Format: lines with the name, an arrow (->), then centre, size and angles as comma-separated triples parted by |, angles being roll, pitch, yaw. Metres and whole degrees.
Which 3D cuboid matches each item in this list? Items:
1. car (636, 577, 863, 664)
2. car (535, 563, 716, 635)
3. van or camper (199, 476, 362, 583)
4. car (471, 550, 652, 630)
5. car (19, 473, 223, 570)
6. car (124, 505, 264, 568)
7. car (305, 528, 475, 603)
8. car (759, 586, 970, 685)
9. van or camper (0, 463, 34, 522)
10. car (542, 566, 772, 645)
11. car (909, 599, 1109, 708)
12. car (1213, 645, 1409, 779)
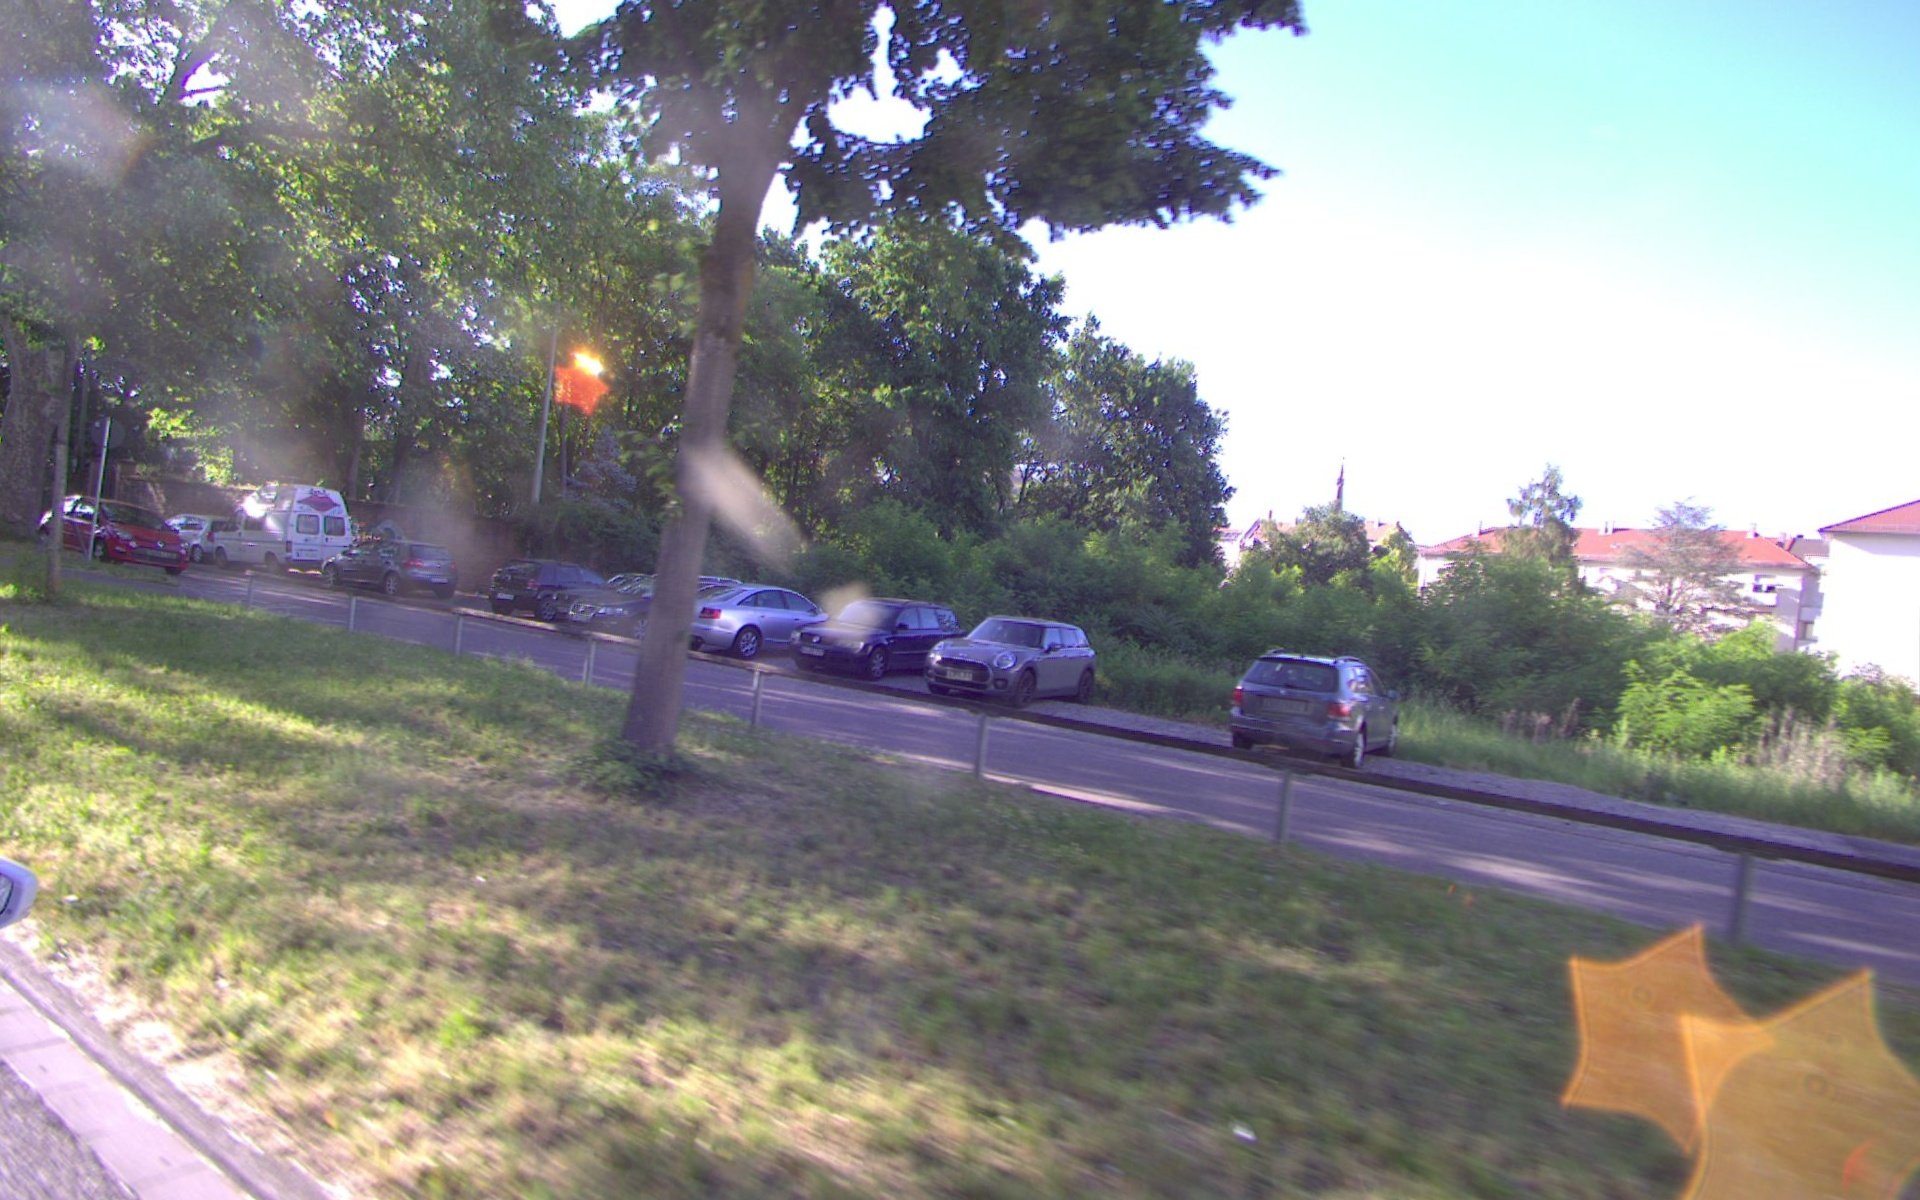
car -> -4.198, 0.395, 20.729 | 1.968, 1.430, 4.376 | 7, 3, 34
car -> -7.952, 0.029, 24.238 | 1.593, 1.410, 3.990 | 6, 1, 30
van or camper -> -20.563, -2.146, 30.408 | 4.879, 2.768, 1.995 | 6, 3, 29
car -> -9.902, -0.198, 25.308 | 1.734, 1.523, 3.997 | 7, -1, 26
car -> -19.401, -1.808, 23.274 | 3.928, 1.659, 2.000 | 7, -2, 25
car -> -25.200, -2.088, 33.108 | 3.926, 1.640, 1.842 | 7, 3, 21
car -> -15.695, -0.939, 27.742 | 3.927, 1.594, 1.999 | 6, 0, 23
car -> -1.703, 0.674, 19.555 | 1.874, 1.497, 4.333 | 8, 2, 28
van or camper -> -48.727, -5.552, 50.152 | 6.463, 2.719, 2.554 | 7, 2, 37
car -> -6.577, 0.142, 22.364 | 1.967, 1.425, 4.719 | 7, 3, 32
car -> 1.008, 0.951, 17.820 | 1.752, 1.517, 4.197 | 7, 0, 29
car -> 5.235, 1.515, 14.671 | 1.687, 1.486, 4.081 | 6, 1, 33
